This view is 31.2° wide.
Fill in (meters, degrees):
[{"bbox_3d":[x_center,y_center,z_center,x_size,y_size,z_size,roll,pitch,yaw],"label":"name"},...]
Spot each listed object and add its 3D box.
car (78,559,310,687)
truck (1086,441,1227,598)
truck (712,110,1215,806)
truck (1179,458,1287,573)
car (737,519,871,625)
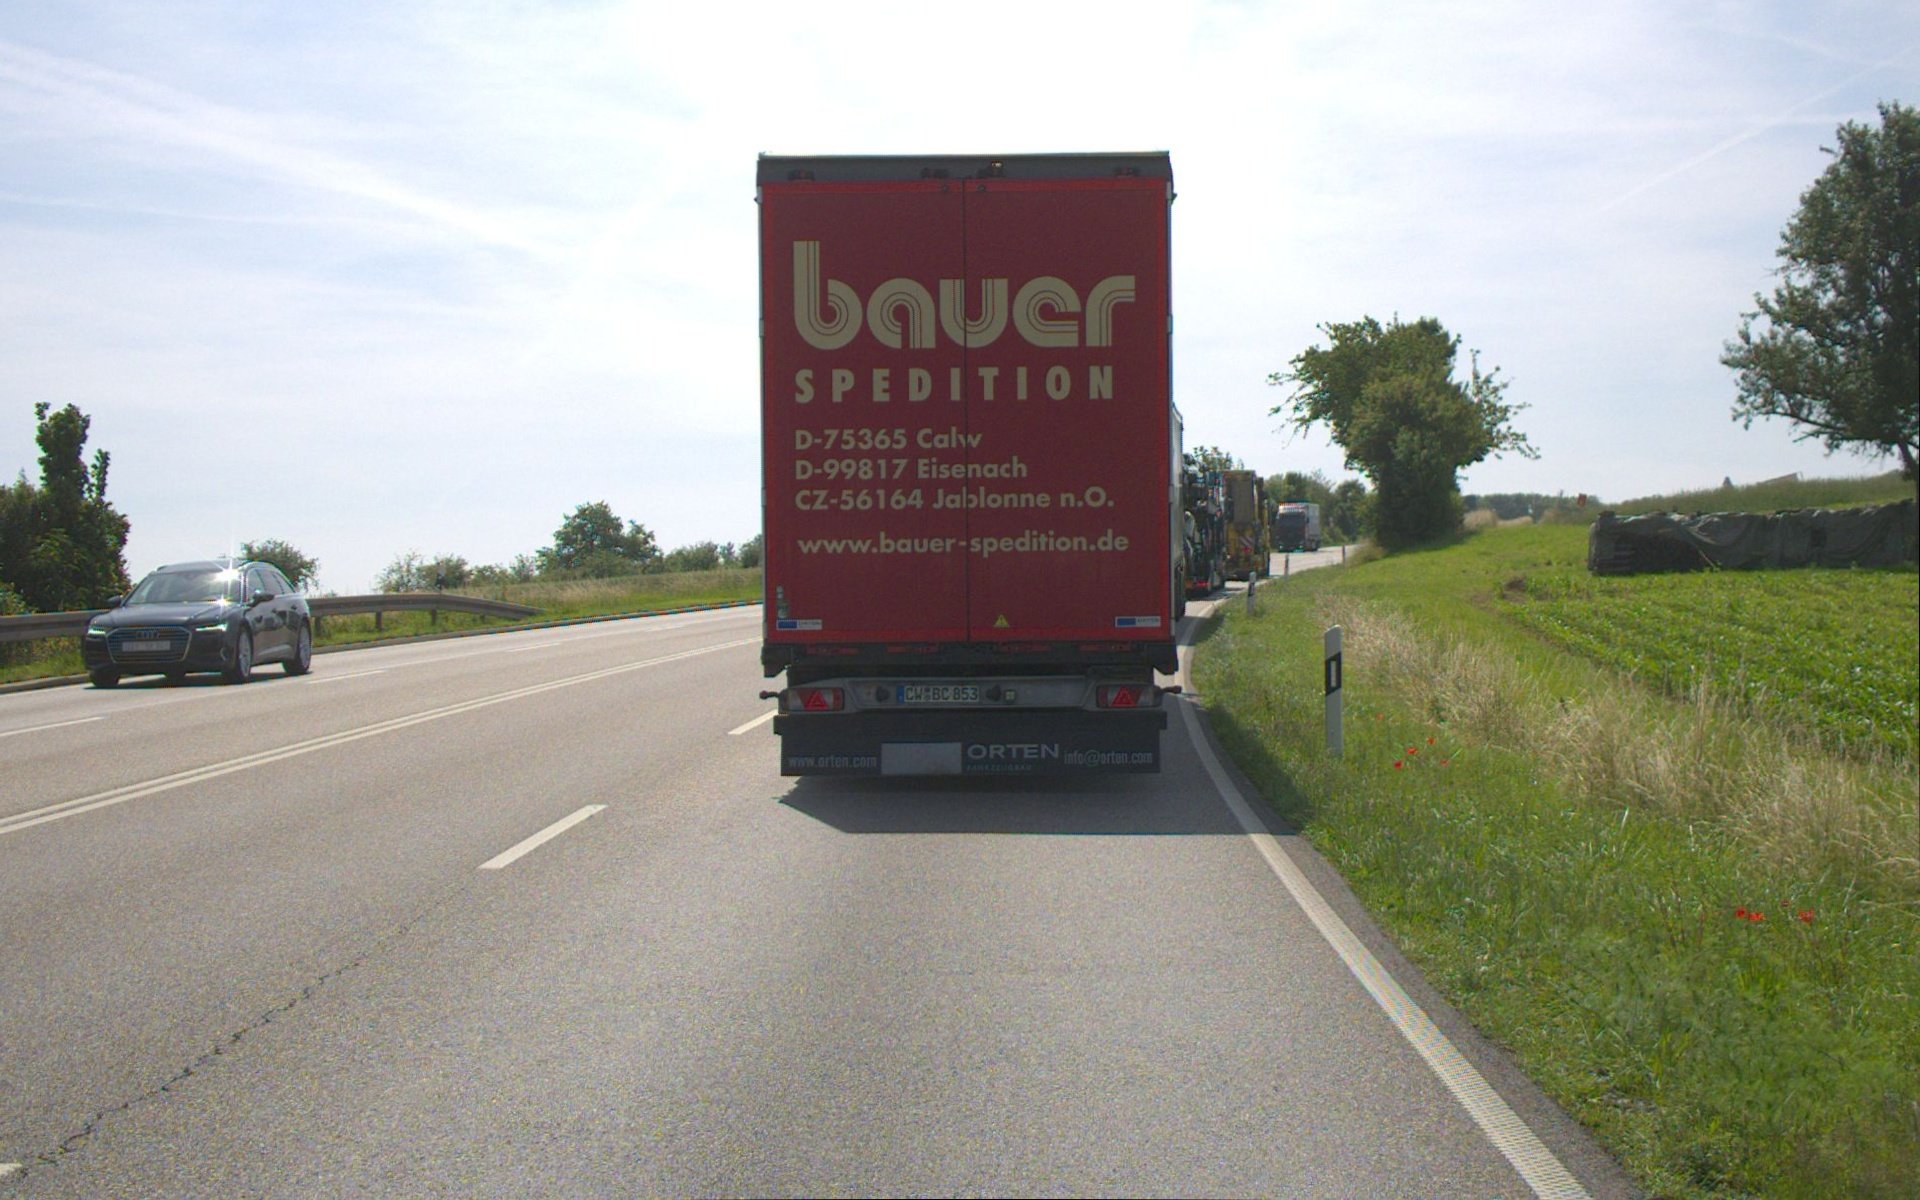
[{"bbox_3d":[-9.441,0.246,42.697,1.836,1.450,4.326,-2,1,1],"label":"car"},{"bbox_3d":[5.561,-2.168,94.416,3.047,3.897,15.612,-1,1,6],"label":"truck"},{"bbox_3d":[0.160,-0.991,28.970,3.007,4.165,16.714,0,1,1],"label":"truck"},{"bbox_3d":[10.315,-3.104,128.188,3.048,3.897,18.393,-1,1,7],"label":"truck"},{"bbox_3d":[-2.840,-0.540,63.662,1.905,1.878,5.431,0,1,4],"label":"car"}]
